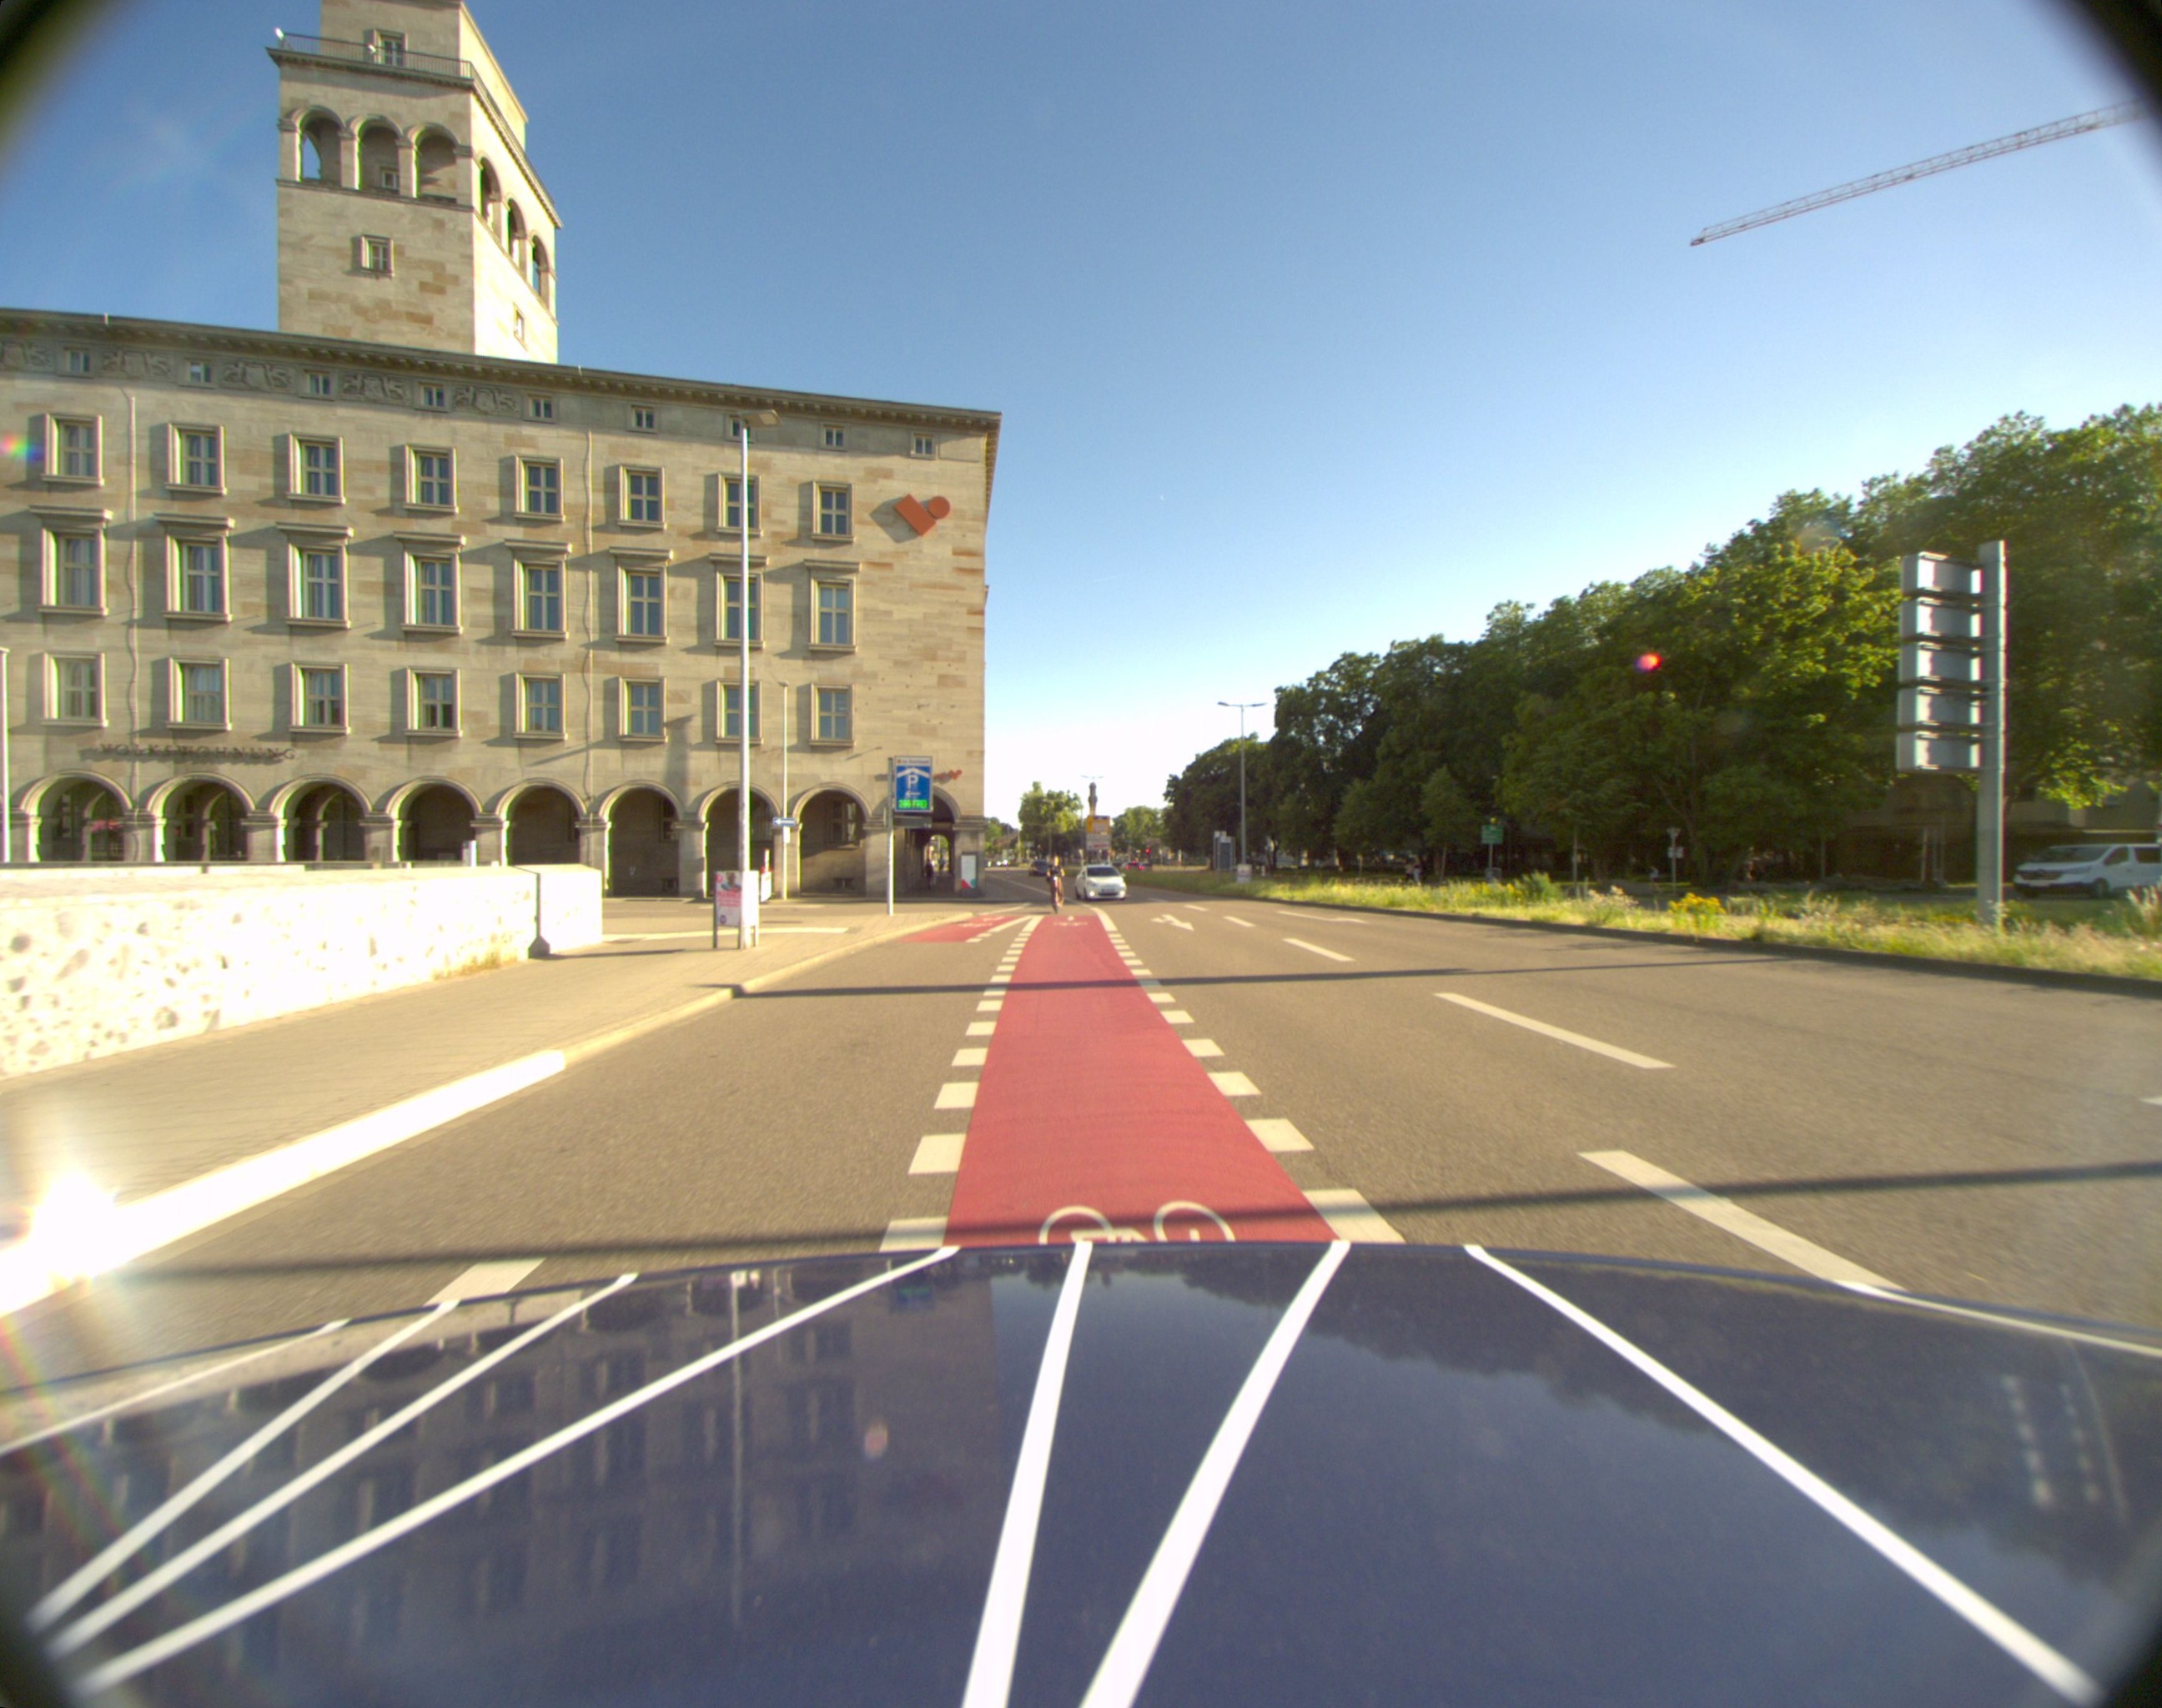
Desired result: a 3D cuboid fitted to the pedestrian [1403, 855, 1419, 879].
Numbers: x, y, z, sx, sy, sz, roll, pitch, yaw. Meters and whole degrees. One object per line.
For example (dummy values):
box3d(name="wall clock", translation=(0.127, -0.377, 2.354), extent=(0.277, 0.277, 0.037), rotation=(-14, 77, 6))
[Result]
box3d(name="pedestrian", translation=(22.366, 0.882, 51.510), extent=(0.744, 1.631, 0.726), rotation=(0, 0, -6))

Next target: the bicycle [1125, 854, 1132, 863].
box3d(name="bicycle", translation=(6.307, 0.564, 100.679), extent=(0.777, 1.232, 2.250), rotation=(1, 0, 5))

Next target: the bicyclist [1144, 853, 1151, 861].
box3d(name="bicyclist", translation=(11.581, 0.568, 132.419), extent=(0.972, 1.354, 0.826), rotation=(0, 0, -4))

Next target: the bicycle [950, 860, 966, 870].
box3d(name="bicycle", translation=(-14.394, 1.239, 88.802), extent=(1.708, 1.126, 0.665), rotation=(2, 0, 30))

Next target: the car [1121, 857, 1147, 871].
box3d(name="car", translation=(5.881, 1.122, 84.948), extent=(2.000, 1.555, 4.057), rotation=(0, 0, -10))

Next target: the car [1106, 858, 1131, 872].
box3d(name="car", translation=(4.480, 1.270, 91.677), extent=(2.000, 1.666, 4.545), rotation=(0, 0, -10))

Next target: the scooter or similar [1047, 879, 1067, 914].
box3d(name="scooter or similar", translation=(-0.729, 1.300, 23.431), extent=(0.556, 1.025, 1.117), rotation=(0, 0, 1))

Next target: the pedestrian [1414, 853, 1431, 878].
box3d(name="pedestrian", translation=(23.263, 0.784, 51.731), extent=(0.773, 1.730, 0.760), rotation=(0, 0, -6))

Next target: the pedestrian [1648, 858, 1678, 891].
box3d(name="pedestrian", translation=(26.592, 0.932, 34.702), extent=(0.614, 1.518, 0.942), rotation=(0, 0, -4))

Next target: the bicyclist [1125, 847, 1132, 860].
box3d(name="bicyclist", translation=(6.309, -0.035, 100.813), extent=(0.783, 1.669, 0.839), rotation=(1, 1, 5))

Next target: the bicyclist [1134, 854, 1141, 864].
box3d(name="bicyclist", translation=(9.436, 0.808, 126.595), extent=(0.850, 1.610, 0.974), rotation=(0, 0, 19))

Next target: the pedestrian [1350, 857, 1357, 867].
box3d(name="pedestrian", translation=(35.653, 1.077, 99.368), extent=(0.733, 1.332, 0.599), rotation=(0, 0, -7))

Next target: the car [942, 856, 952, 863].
box3d(name="car", translation=(-28.663, 1.123, 162.951), extent=(2.000, 1.564, 4.545), rotation=(0, 0, -10))

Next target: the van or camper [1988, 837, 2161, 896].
box3d(name="van or camper", translation=(36.595, 0.428, 27.427), extent=(5.681, 2.002, 2.255), rotation=(1, 2, -8))

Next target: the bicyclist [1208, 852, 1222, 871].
box3d(name="bicyclist", translation=(11.731, 0.631, 66.709), extent=(0.750, 1.581, 1.200), rotation=(0, 2, -14))

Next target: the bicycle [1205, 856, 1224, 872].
box3d(name="bicycle", translation=(11.704, 0.871, 66.793), extent=(0.760, 1.268, 2.255), rotation=(0, 2, -14))

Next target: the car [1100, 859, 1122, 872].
box3d(name="car", translation=(3.830, 1.443, 97.231), extent=(2.000, 1.551, 4.545), rotation=(0, 0, -10))

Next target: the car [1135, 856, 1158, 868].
box3d(name="car", translation=(8.396, 1.031, 98.337), extent=(1.940, 1.517, 4.583), rotation=(0, 0, -9))

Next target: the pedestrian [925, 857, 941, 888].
box3d(name="pedestrian", translation=(-7.542, 0.925, 38.733), extent=(0.779, 1.560, 0.951), rotation=(0, 0, -12))

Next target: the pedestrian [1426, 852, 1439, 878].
box3d(name="pedestrian", translation=(23.957, 0.758, 51.757), extent=(0.525, 1.730, 0.654), rotation=(0, 0, -6))

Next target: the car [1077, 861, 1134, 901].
box3d(name="car", translation=(0.924, 1.062, 31.140), extent=(1.680, 1.455, 3.762), rotation=(-1, 0, -8))

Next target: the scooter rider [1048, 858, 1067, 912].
box3d(name="scooter rider", translation=(-0.719, 0.945, 23.480), extent=(0.562, 1.622, 0.650), rotation=(0, 1, 2))

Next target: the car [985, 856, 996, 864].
box3d(name="car", translation=(-17.368, 1.140, 145.458), extent=(2.000, 1.564, 4.545), rotation=(0, 0, -10))

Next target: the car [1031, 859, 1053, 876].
box3d(name="car", translation=(-3.838, 1.310, 74.863), extent=(1.735, 1.629, 3.997), rotation=(-2, 0, -9))
